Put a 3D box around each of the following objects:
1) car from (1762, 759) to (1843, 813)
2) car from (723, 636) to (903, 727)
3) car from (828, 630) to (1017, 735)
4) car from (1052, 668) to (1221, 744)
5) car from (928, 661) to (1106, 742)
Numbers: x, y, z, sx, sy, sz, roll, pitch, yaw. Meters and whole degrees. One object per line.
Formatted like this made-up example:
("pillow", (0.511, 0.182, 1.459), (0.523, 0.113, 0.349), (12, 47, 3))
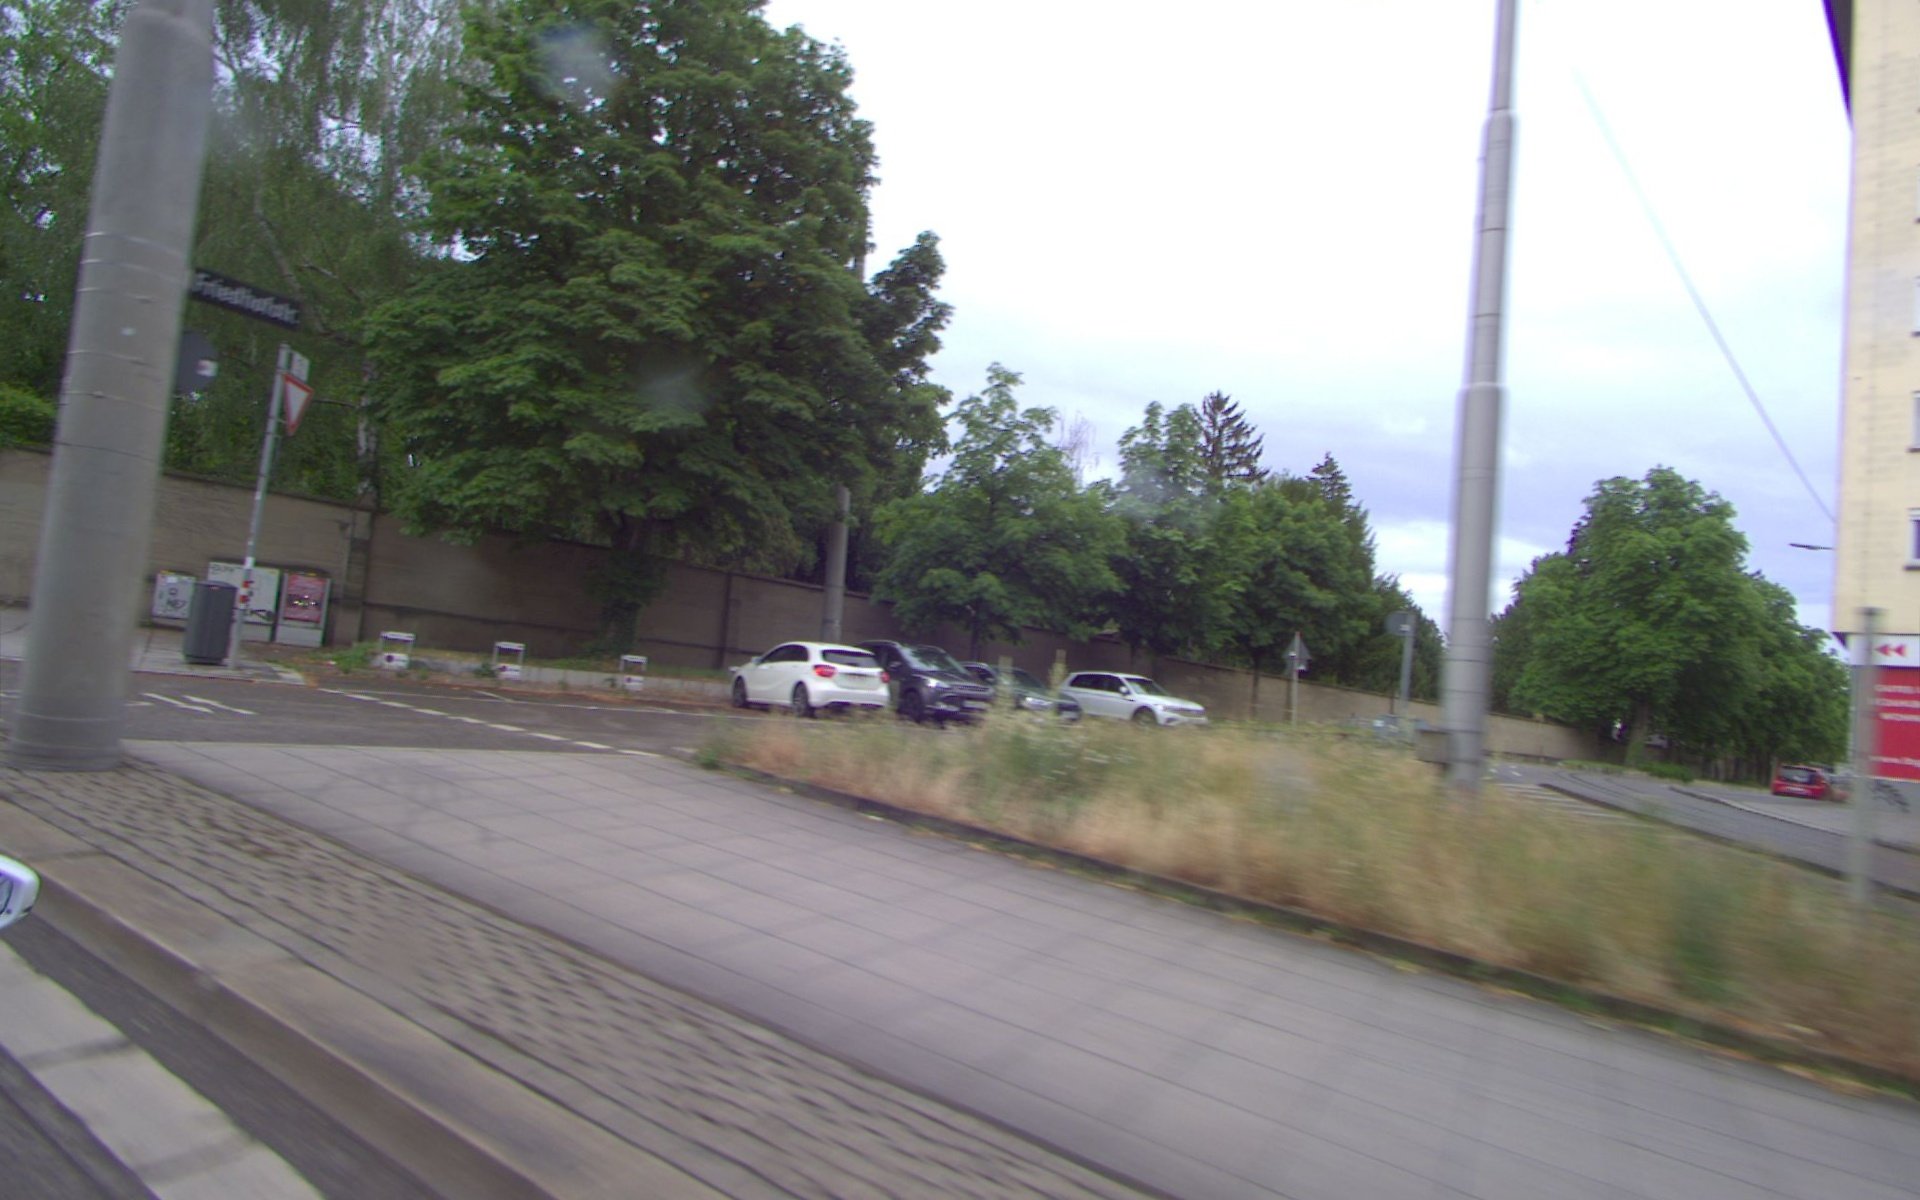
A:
("car", (34.846, 7.682, 41.578), (3.973, 1.771, 1.830), (9, -2, -40))
("car", (-3.015, 1.564, 19.991), (1.745, 1.421, 3.964), (9, -6, -37))
("car", (-0.896, 1.672, 21.168), (1.745, 1.822, 4.235), (9, -5, -37))
("car", (4.499, 2.713, 26.142), (1.774, 1.573, 4.182), (8, -5, -36))
("car", (1.194, 2.247, 22.677), (1.775, 1.405, 3.965), (9, -6, -36))
